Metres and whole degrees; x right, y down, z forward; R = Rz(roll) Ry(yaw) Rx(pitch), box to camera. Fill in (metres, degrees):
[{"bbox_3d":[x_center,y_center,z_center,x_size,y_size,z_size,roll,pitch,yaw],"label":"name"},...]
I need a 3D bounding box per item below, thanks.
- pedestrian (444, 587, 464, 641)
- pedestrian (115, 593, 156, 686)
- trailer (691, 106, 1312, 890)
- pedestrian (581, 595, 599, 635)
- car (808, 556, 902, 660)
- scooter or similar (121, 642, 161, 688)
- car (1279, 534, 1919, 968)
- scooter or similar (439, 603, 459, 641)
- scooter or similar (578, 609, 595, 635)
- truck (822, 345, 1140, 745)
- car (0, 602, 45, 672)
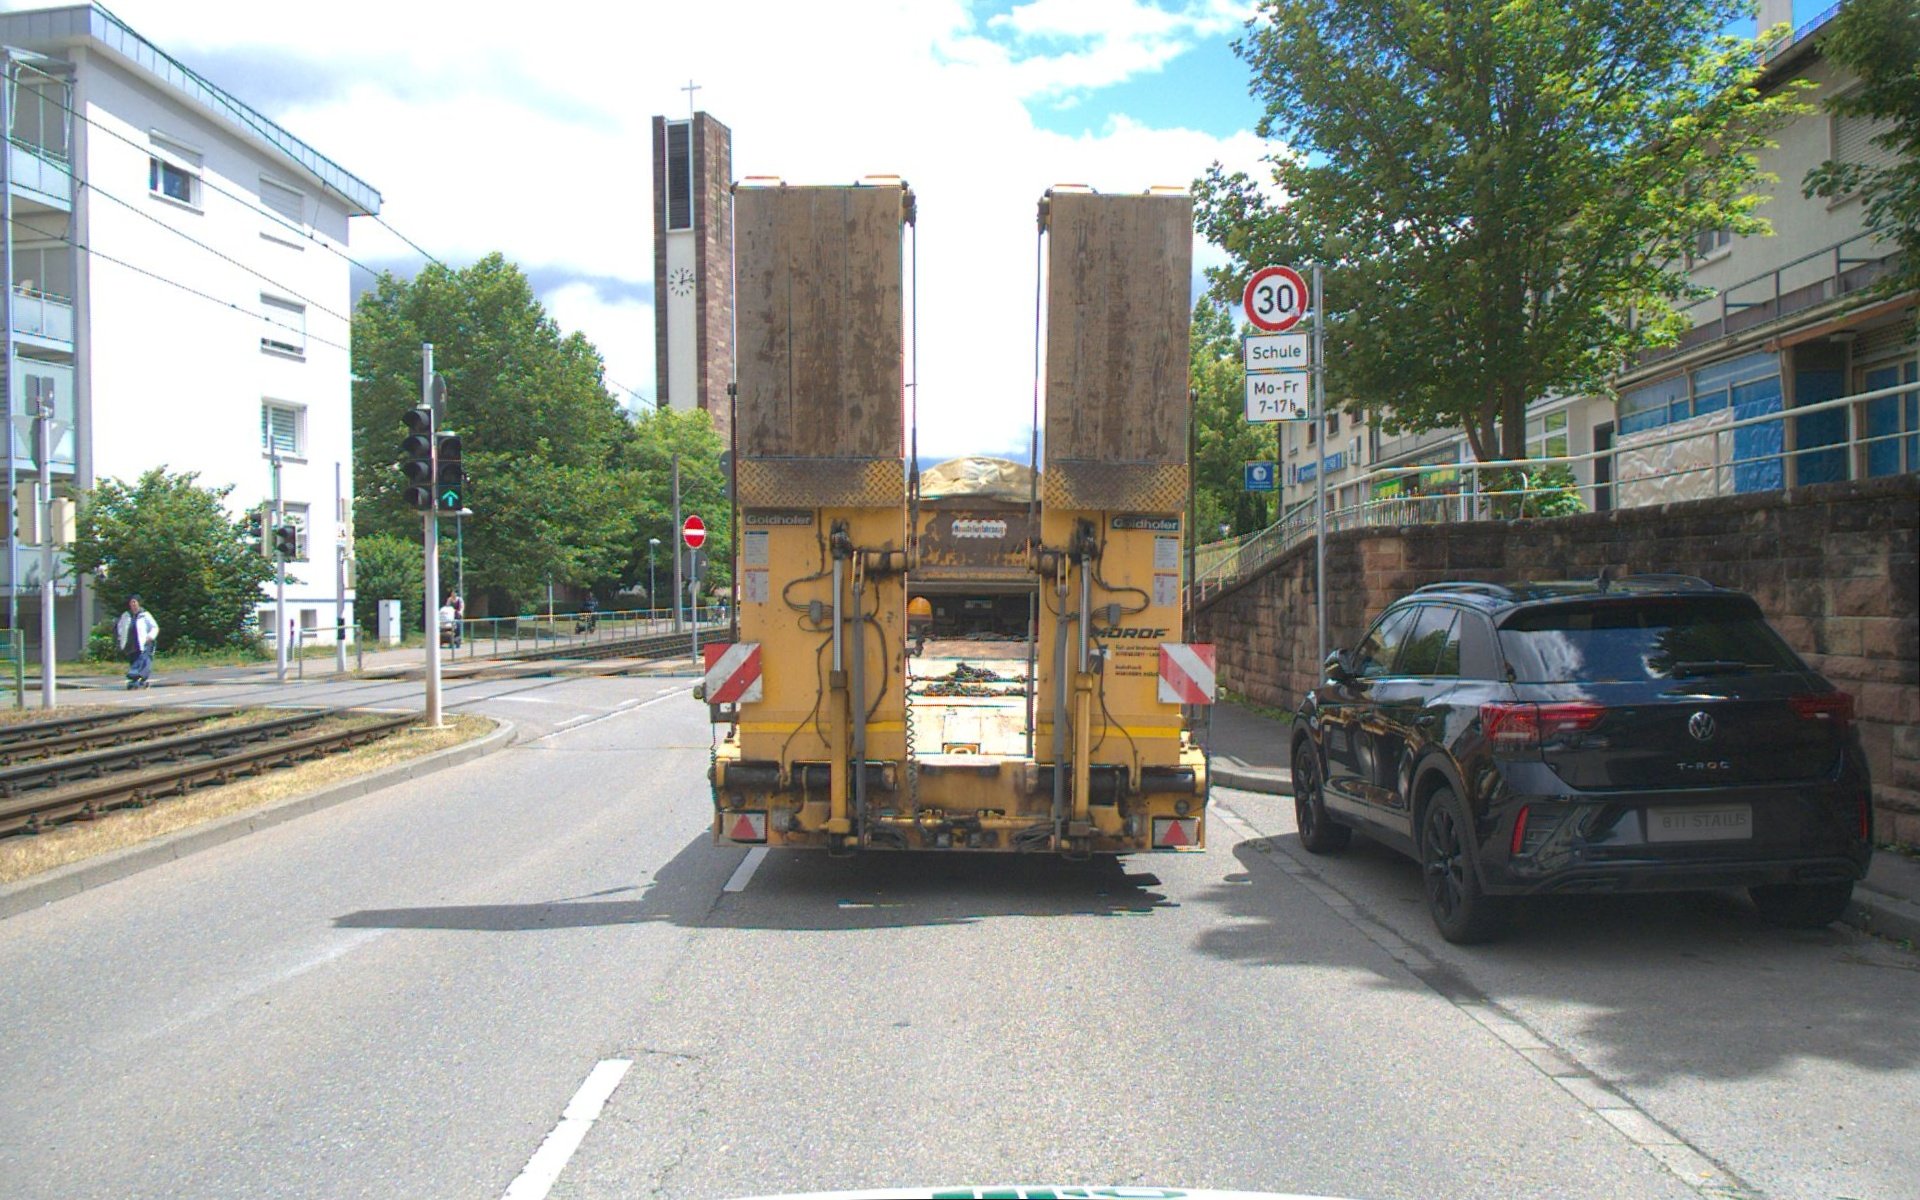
[{"bbox_3d":[-14.586,0.398,47.679,0.341,1.564,0.557,-1,0,3],"label":"pedestrian"},{"bbox_3d":[-14.470,0.684,29.031,0.428,1.608,0.475,1,0,4],"label":"pedestrian"},{"bbox_3d":[0.193,-0.502,12.137,2.885,3.664,8.683,-1,0,0],"label":"trailer"},{"bbox_3d":[-14.418,0.578,64.501,0.552,1.540,0.645,1,0,-2],"label":"pedestrian"},{"bbox_3d":[-2.572,0.179,41.648,1.972,2.401,5.382,1,0,0],"label":"car"},{"bbox_3d":[-14.192,1.123,28.663,0.428,0.760,0.475,-1,0,4],"label":"scooter or similar"},{"bbox_3d":[2.971,0.598,8.587,1.813,1.668,4.000,-2,0,0],"label":"car"},{"bbox_3d":[-14.535,0.620,47.052,0.331,1.076,0.688,-1,0,3],"label":"scooter or similar"},{"bbox_3d":[-14.428,0.847,63.848,0.495,0.988,0.645,1,0,-2],"label":"scooter or similar"},{"bbox_3d":[0.193,-0.517,17.639,2.882,3.635,4.876,-1,0,0],"label":"truck"},{"bbox_3d":[-20.622,0.736,32.862,3.902,1.369,1.902,0,0,7],"label":"car"}]
